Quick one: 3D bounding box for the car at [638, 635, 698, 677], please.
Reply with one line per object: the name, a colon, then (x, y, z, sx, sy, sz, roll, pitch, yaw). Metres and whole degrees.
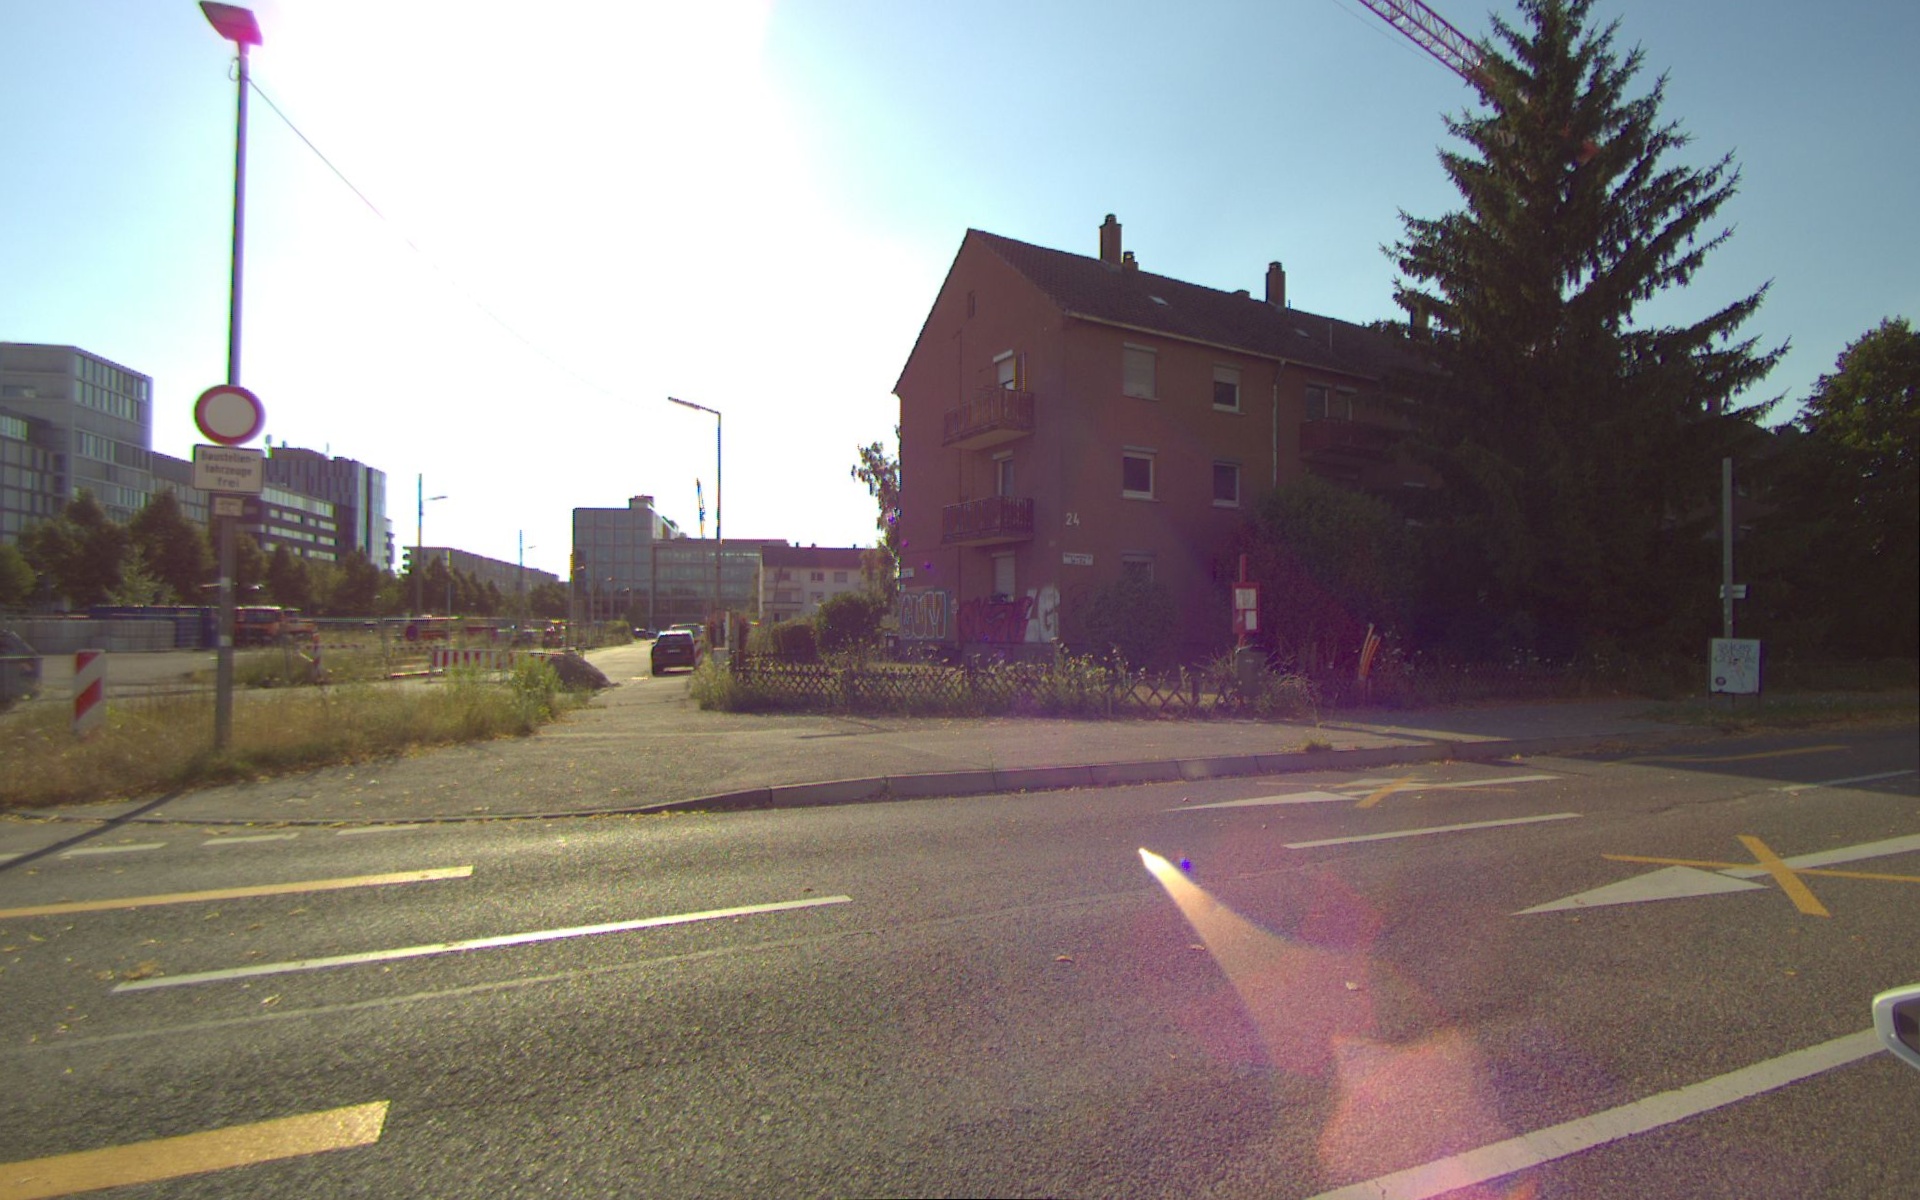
car: (-11.722, 2.205, 40.544, 1.964, 1.572, 3.993, 0, -2, -11)

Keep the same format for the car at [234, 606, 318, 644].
car: (-46.497, 1.742, 68.492, 2.489, 2.472, 5.925, 1, -2, -10)

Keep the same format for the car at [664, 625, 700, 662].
car: (-15.421, 2.415, 55.888, 1.837, 1.973, 3.988, 0, -2, -15)
